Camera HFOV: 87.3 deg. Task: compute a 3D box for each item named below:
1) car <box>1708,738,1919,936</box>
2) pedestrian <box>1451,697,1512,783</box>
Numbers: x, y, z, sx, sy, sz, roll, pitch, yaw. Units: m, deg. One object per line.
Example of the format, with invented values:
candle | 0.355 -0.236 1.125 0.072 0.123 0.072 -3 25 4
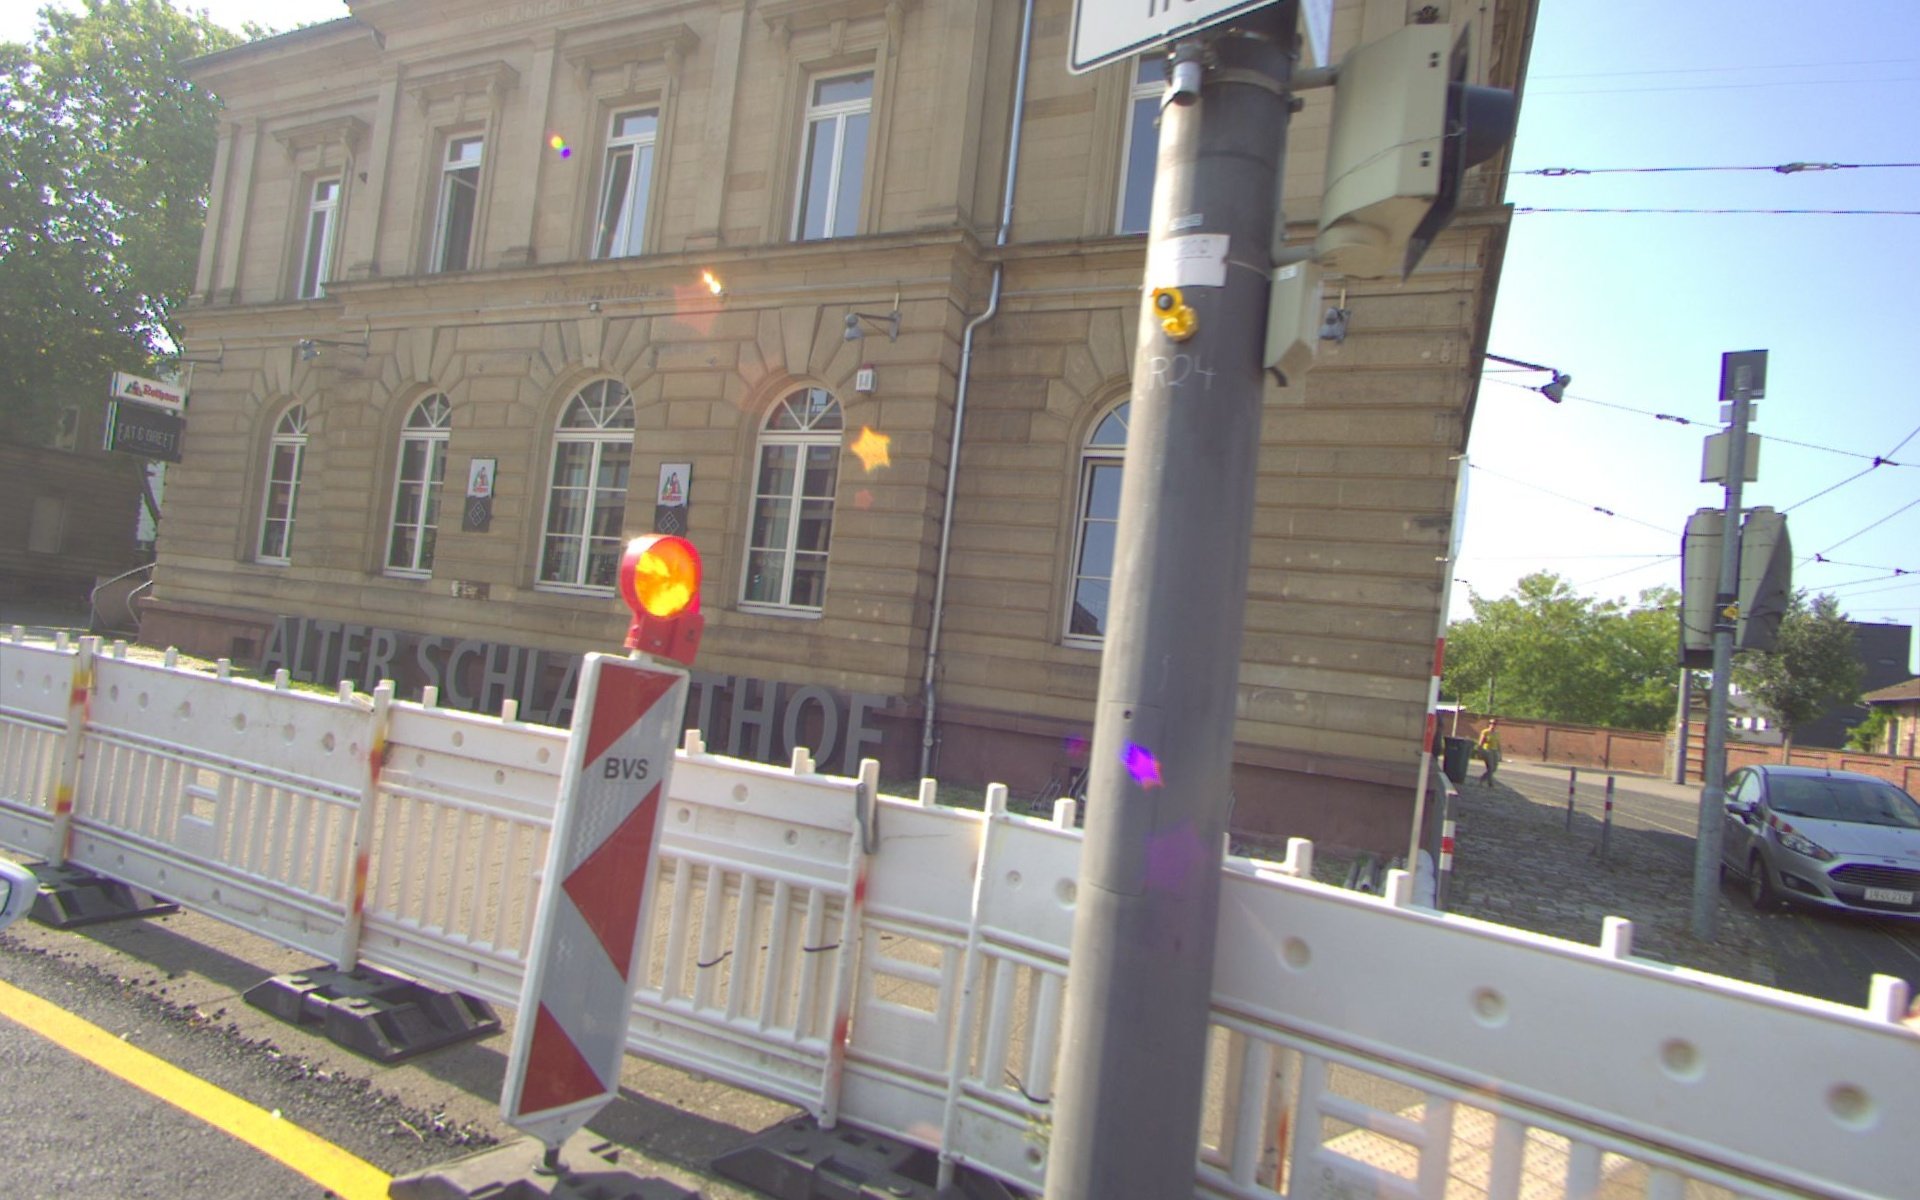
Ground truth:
car | 9.389 2.403 10.862 1.638 1.554 4.007 5 -3 32
pedestrian | 12.202 3.262 23.559 1.018 1.884 0.672 5 -3 11
